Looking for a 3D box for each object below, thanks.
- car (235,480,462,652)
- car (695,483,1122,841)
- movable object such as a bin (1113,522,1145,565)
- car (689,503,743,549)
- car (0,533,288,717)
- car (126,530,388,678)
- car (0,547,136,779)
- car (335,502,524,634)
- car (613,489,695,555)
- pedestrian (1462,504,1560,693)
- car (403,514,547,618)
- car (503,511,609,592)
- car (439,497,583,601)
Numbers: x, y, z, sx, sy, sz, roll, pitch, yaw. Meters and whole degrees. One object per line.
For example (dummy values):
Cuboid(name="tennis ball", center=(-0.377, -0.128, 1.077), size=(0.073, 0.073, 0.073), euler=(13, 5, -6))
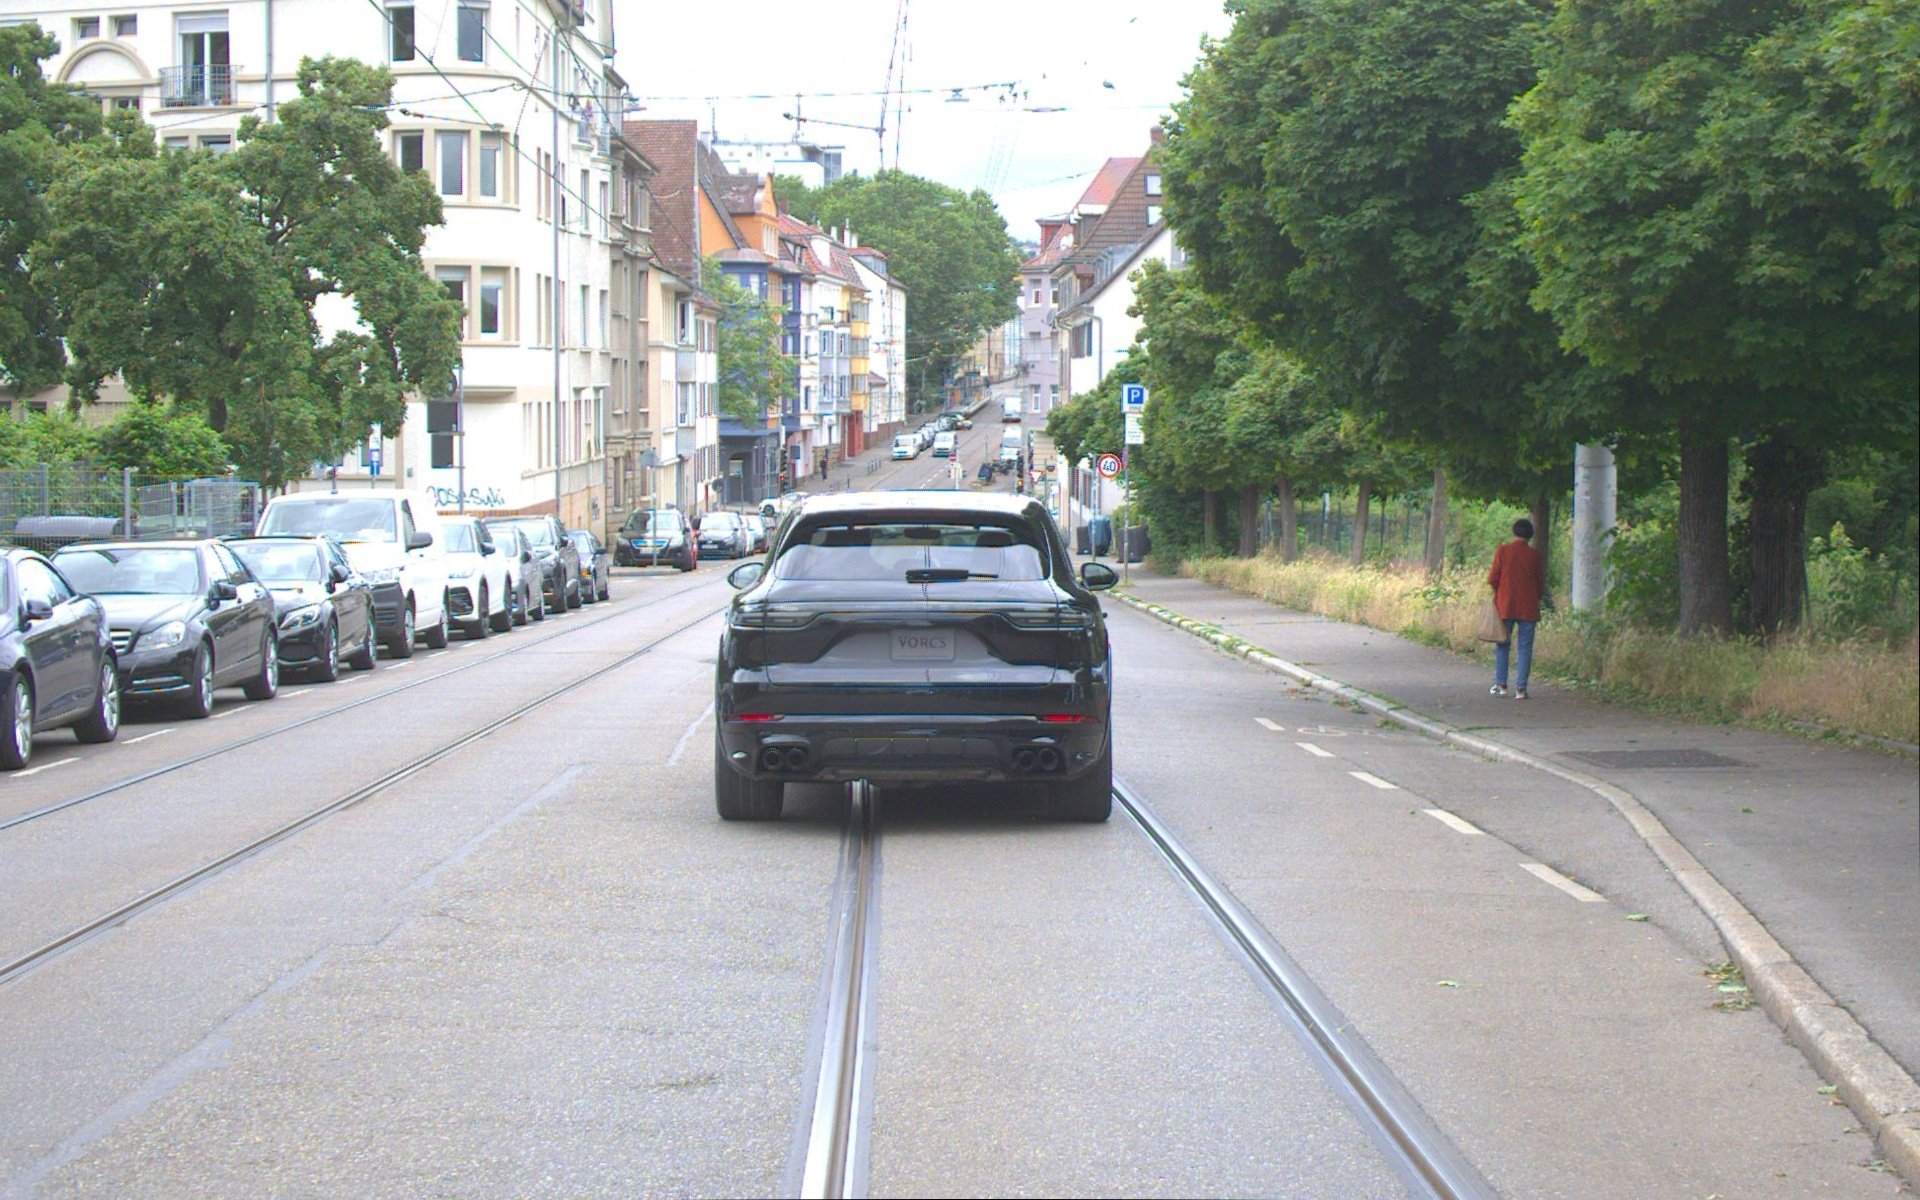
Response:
Cuboid(name="car", center=(-7.145, -0.397, 40.634), size=(1.969, 1.906, 4.735), euler=(0, 1, -2))
Cuboid(name="car", center=(-0.269, 0.253, 18.174), size=(1.993, 1.670, 4.000), euler=(1, 1, -1))
Cuboid(name="movable object such as a bin", center=(4.814, -1.601, 98.019), size=(0.792, 1.214, 0.789), euler=(0, 1, -4))
Cuboid(name="car", center=(-8.088, -2.441, 114.015), size=(1.620, 1.458, 4.033), euler=(0, 1, -2))
Cuboid(name="car", center=(-6.821, 0.169, 28.282), size=(1.840, 1.382, 4.440), euler=(0, 1, -2))
Cuboid(name="car", center=(-7.008, 0.014, 34.694), size=(1.840, 1.382, 4.518), euler=(0, 1, -2))
Cuboid(name="car", center=(-6.768, 0.369, 22.632), size=(1.790, 1.399, 4.162), euler=(0, 1, -2))
Cuboid(name="car", center=(-7.114, -0.435, 46.512), size=(1.969, 1.681, 4.633), euler=(0, 1, -2))
Cuboid(name="car", center=(-7.920, -2.002, 89.330), size=(1.867, 1.640, 4.402), euler=(0, 1, -2))
Cuboid(name="pedestrian", center=(4.776, -0.018, 29.836), size=(0.715, 1.615, 0.719), euler=(1, 1, 0))
Cuboid(name="car", center=(-7.287, -0.511, 51.928), size=(1.738, 1.504, 3.870), euler=(0, 1, -2))
Cuboid(name="car", center=(-7.558, -0.904, 64.643), size=(1.620, 1.472, 4.157), euler=(0, 1, -2))
Cuboid(name="car", center=(-7.546, -0.855, 58.124), size=(1.969, 1.681, 4.445), euler=(0, 1, -2))
